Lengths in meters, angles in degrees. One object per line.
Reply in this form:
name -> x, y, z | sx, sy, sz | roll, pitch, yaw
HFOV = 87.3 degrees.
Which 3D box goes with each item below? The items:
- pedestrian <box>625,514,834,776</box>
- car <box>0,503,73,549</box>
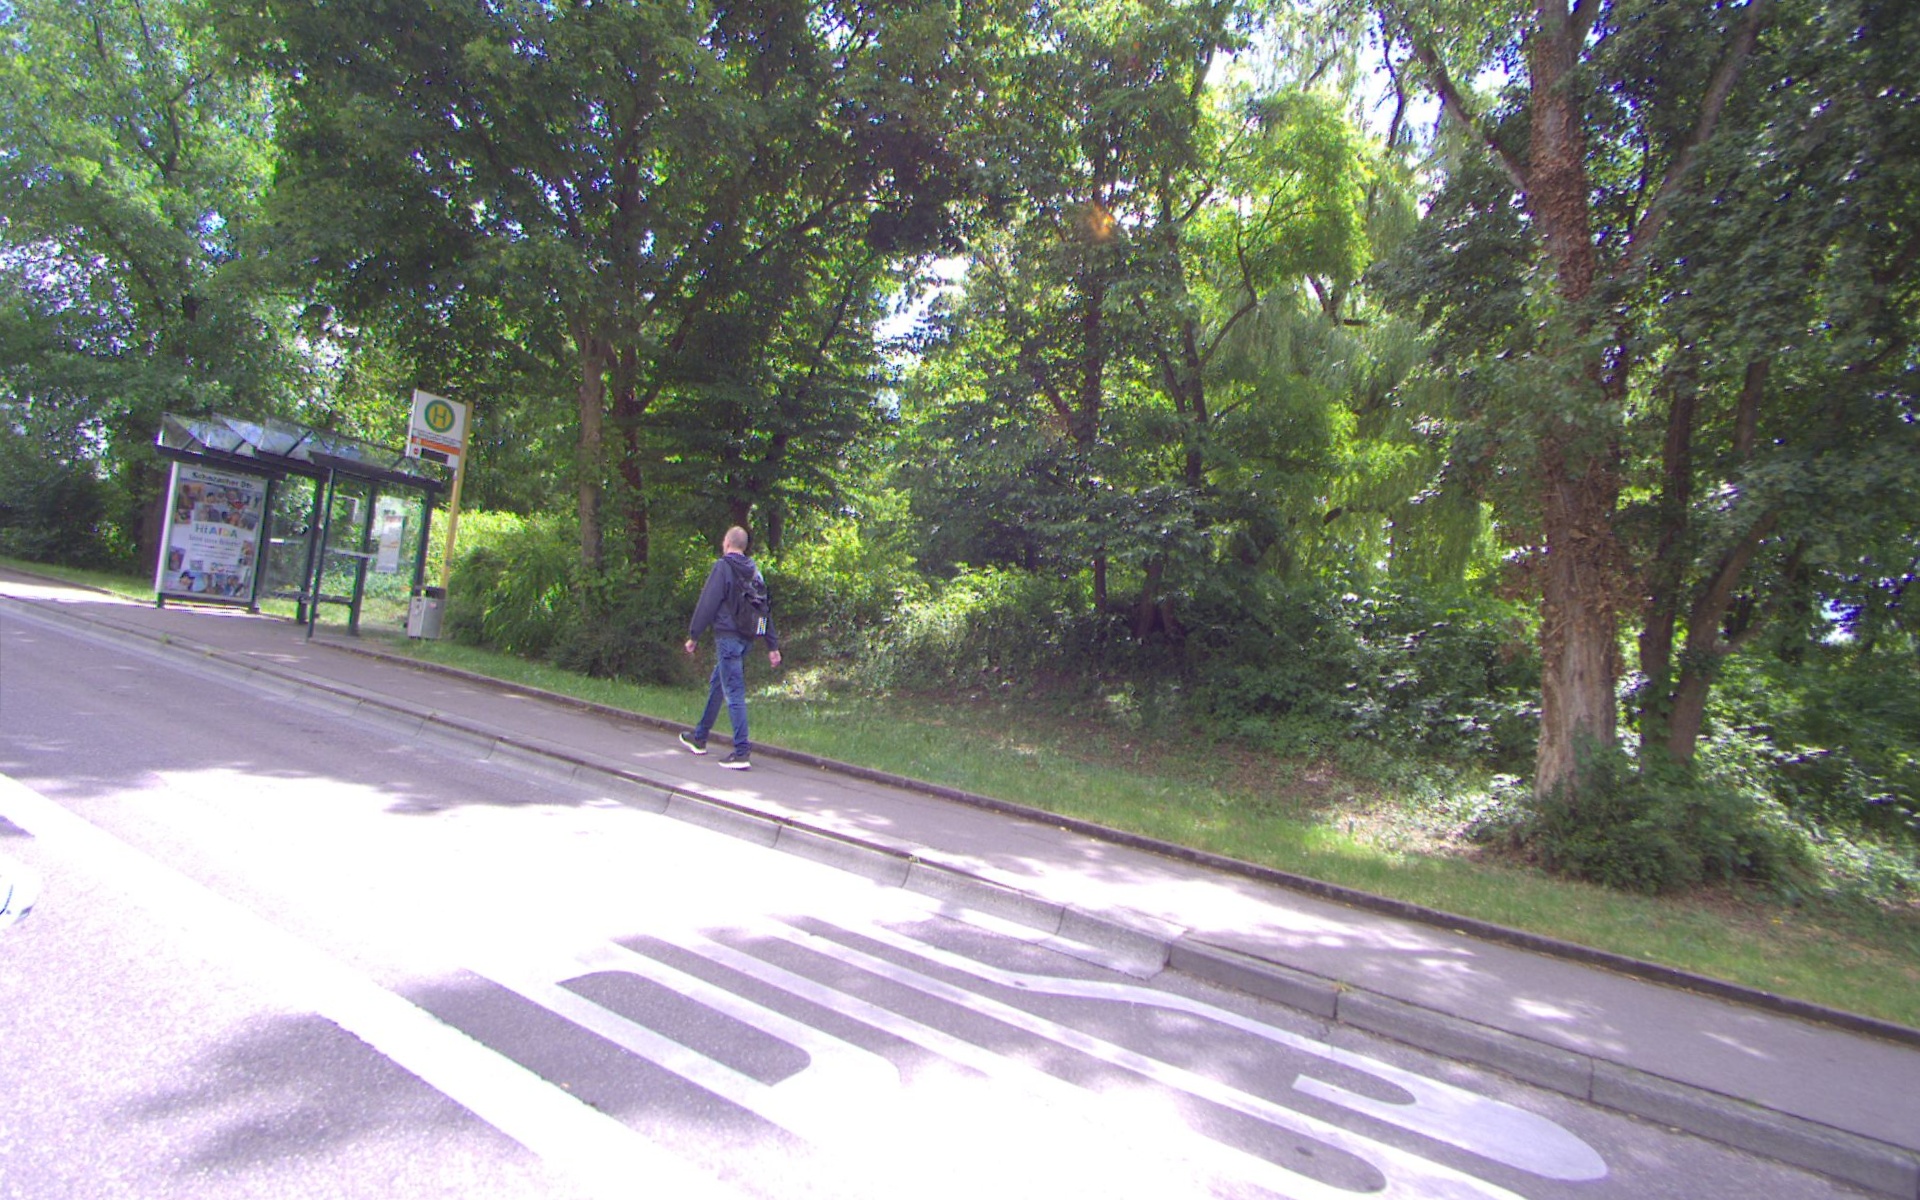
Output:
pedestrian -> -1.885, 0.347, 8.225 | 1.250, 1.918, 0.802 | 7, -1, 33
car -> -40.563, -3.275, 42.906 | 1.679, 1.619, 3.592 | 7, -2, 20
